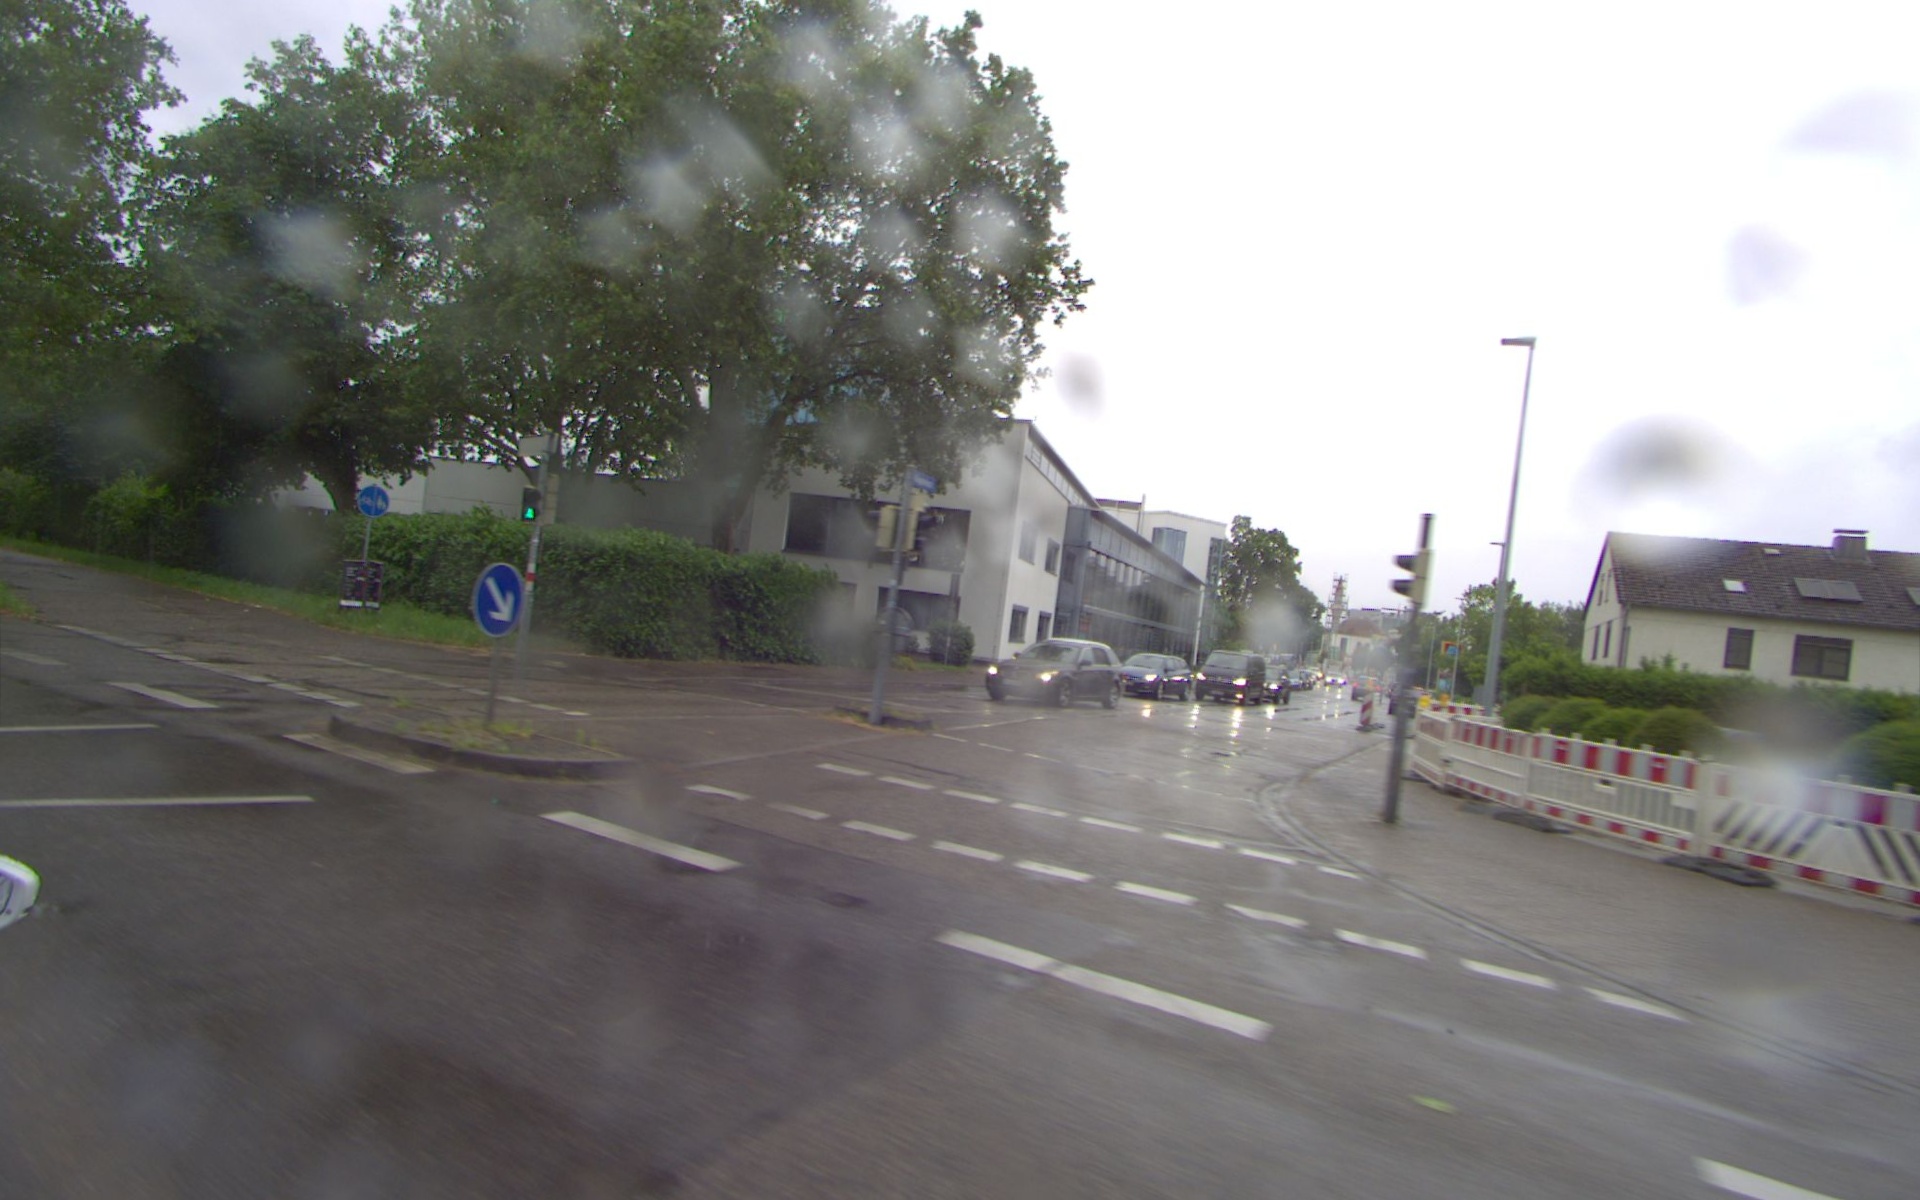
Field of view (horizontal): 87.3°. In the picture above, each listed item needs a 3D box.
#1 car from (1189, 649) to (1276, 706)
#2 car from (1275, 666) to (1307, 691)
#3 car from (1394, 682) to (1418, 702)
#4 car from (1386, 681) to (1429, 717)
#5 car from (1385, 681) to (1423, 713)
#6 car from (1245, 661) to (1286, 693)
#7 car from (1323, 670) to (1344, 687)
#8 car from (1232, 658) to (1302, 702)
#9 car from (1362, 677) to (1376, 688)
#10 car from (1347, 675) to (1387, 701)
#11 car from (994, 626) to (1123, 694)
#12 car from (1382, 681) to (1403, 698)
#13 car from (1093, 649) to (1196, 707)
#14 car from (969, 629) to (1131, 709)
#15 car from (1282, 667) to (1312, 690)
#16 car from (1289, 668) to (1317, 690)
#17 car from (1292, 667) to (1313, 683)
[{"bbox_3d":[10.439,2.969,38.300,1.796,1.819,4.474,7,-1,32],"label":"car"},{"bbox_3d":[24.892,5.876,75.612,1.793,1.609,4.304,7,-1,23],"label":"car"},{"bbox_3d":[40.704,8.376,91.827,1.717,1.476,4.038,7,-1,22],"label":"car"},{"bbox_3d":[22.877,5.045,51.574,1.717,1.476,4.038,7,-1,22],"label":"car"},{"bbox_3d":[25.551,5.550,58.000,1.717,1.476,4.038,7,-1,22],"label":"car"},{"bbox_3d":[18.639,4.668,61.312,1.793,1.609,4.304,7,-1,23],"label":"car"},{"bbox_3d":[41.927,8.782,112.839,1.793,1.609,4.304,7,-1,23],"label":"car"},{"bbox_3d":[13.653,3.552,44.604,1.796,1.609,4.297,7,-1,32],"label":"car"},{"bbox_3d":[63.827,12.831,157.021,1.717,1.476,4.038,7,-1,22],"label":"car"},{"bbox_3d":[27.890,6.002,68.814,1.868,1.445,4.855,7,-1,29],"label":"car"},{"bbox_3d":[2.911,1.772,28.893,1.857,1.609,4.297,7,-1,32],"label":"car"},{"bbox_3d":[44.825,9.267,104.287,1.717,1.476,4.038,7,-1,22],"label":"car"},{"bbox_3d":[6.280,2.638,33.880,1.796,1.609,4.297,7,-1,32],"label":"car"},{"bbox_3d":[2.170,1.602,23.066,1.822,1.501,4.383,5,-1,32],"label":"car"},{"bbox_3d":[27.258,6.323,81.391,1.793,1.609,4.304,7,-1,23],"label":"car"},{"bbox_3d":[29.500,6.738,86.457,1.793,1.609,4.304,7,-1,23],"label":"car"},{"bbox_3d":[38.490,8.428,113.042,1.793,1.609,4.304,7,-1,23],"label":"car"}]
